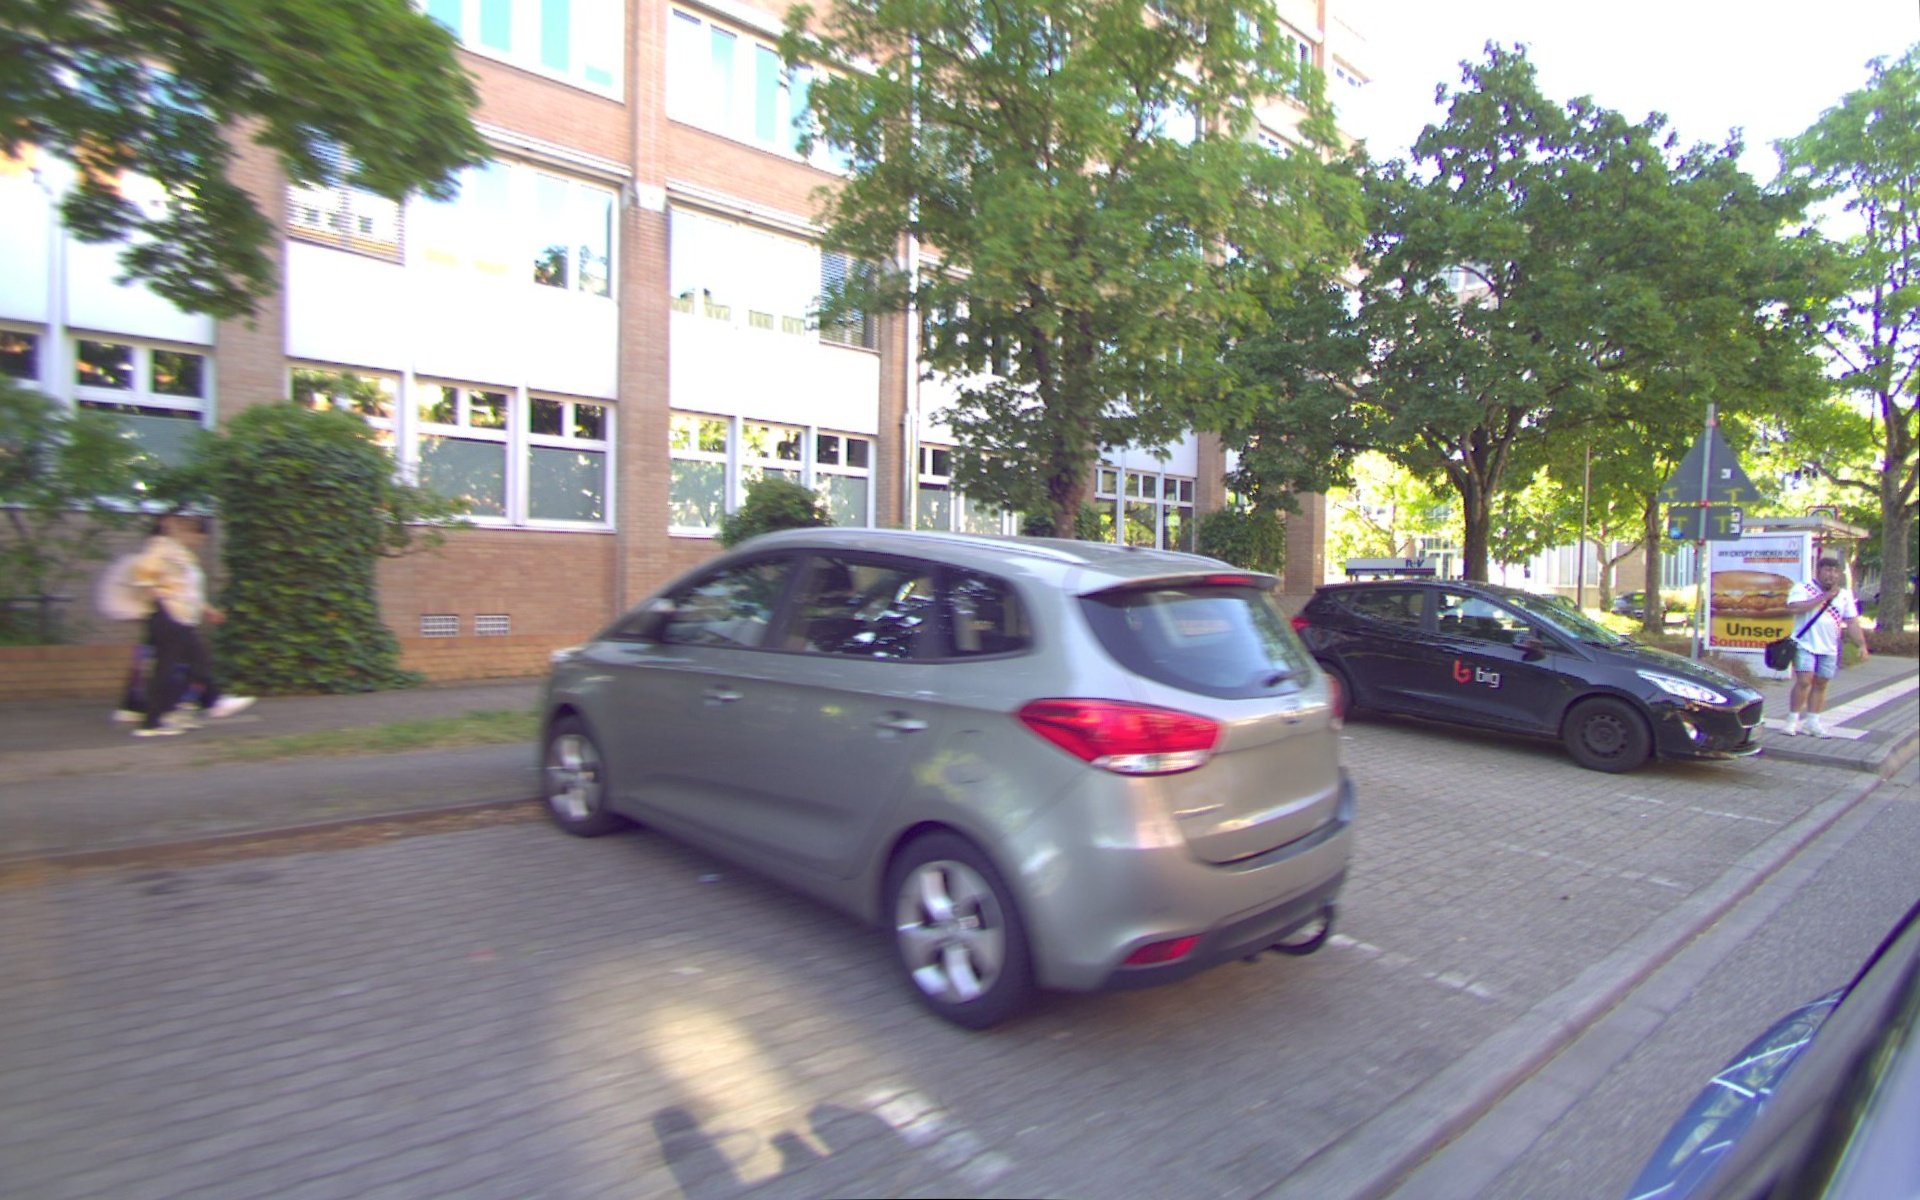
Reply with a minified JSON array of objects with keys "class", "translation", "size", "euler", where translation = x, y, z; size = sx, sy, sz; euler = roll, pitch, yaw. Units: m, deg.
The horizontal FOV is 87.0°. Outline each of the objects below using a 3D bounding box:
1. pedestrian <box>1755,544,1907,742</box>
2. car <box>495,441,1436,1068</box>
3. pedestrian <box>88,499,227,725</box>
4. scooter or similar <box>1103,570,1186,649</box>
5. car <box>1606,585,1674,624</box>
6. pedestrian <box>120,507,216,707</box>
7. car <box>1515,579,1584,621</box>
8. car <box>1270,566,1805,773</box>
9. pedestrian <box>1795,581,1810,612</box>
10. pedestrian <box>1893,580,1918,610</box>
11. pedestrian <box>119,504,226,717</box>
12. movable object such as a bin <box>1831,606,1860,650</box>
[{"class":"pedestrian","translation":[8.241,0.372,9.627],"size":[0.916,1.731,0.689],"euler":[5,3,36]},{"class":"car","translation":[-0.353,0.320,4.811],"size":[4.352,1.617,1.909],"euler":[3,2,44]},{"class":"pedestrian","translation":[-5.624,0.066,7.092],"size":[0.703,1.476,0.701],"euler":[0,2,-43]},{"class":"scooter or similar","translation":[3.286,0.155,17.897],"size":[0.549,1.342,1.777],"euler":[-1,0,44]},{"class":"car","translation":[31.616,0.170,46.998],"size":[4.294,1.585,1.739],"euler":[-3,3,-43]},{"class":"pedestrian","translation":[-6.573,0.043,8.391],"size":[0.550,1.572,0.757],"euler":[1,1,-43]},{"class":"car","translation":[22.703,-0.002,38.918],"size":[1.650,1.481,3.861],"euler":[2,1,40]},{"class":"car","translation":[5.106,0.450,9.370],"size":[1.744,1.457,3.942],"euler":[0,2,-41]},{"class":"pedestrian","translation":[44.100,-0.181,52.971],"size":[0.537,1.602,0.639],"euler":[1,1,40]},{"class":"pedestrian","translation":[58.216,-0.321,62.325],"size":[1.001,1.821,1.036],"euler":[0,0,-41]},{"class":"pedestrian","translation":[-6.036,0.067,7.754],"size":[0.584,1.539,0.603],"euler":[1,1,-43]},{"class":"movable object such as a bin","translation":[16.230,0.511,18.556],"size":[0.459,0.763,0.299],"euler":[0,3,-41]}]
